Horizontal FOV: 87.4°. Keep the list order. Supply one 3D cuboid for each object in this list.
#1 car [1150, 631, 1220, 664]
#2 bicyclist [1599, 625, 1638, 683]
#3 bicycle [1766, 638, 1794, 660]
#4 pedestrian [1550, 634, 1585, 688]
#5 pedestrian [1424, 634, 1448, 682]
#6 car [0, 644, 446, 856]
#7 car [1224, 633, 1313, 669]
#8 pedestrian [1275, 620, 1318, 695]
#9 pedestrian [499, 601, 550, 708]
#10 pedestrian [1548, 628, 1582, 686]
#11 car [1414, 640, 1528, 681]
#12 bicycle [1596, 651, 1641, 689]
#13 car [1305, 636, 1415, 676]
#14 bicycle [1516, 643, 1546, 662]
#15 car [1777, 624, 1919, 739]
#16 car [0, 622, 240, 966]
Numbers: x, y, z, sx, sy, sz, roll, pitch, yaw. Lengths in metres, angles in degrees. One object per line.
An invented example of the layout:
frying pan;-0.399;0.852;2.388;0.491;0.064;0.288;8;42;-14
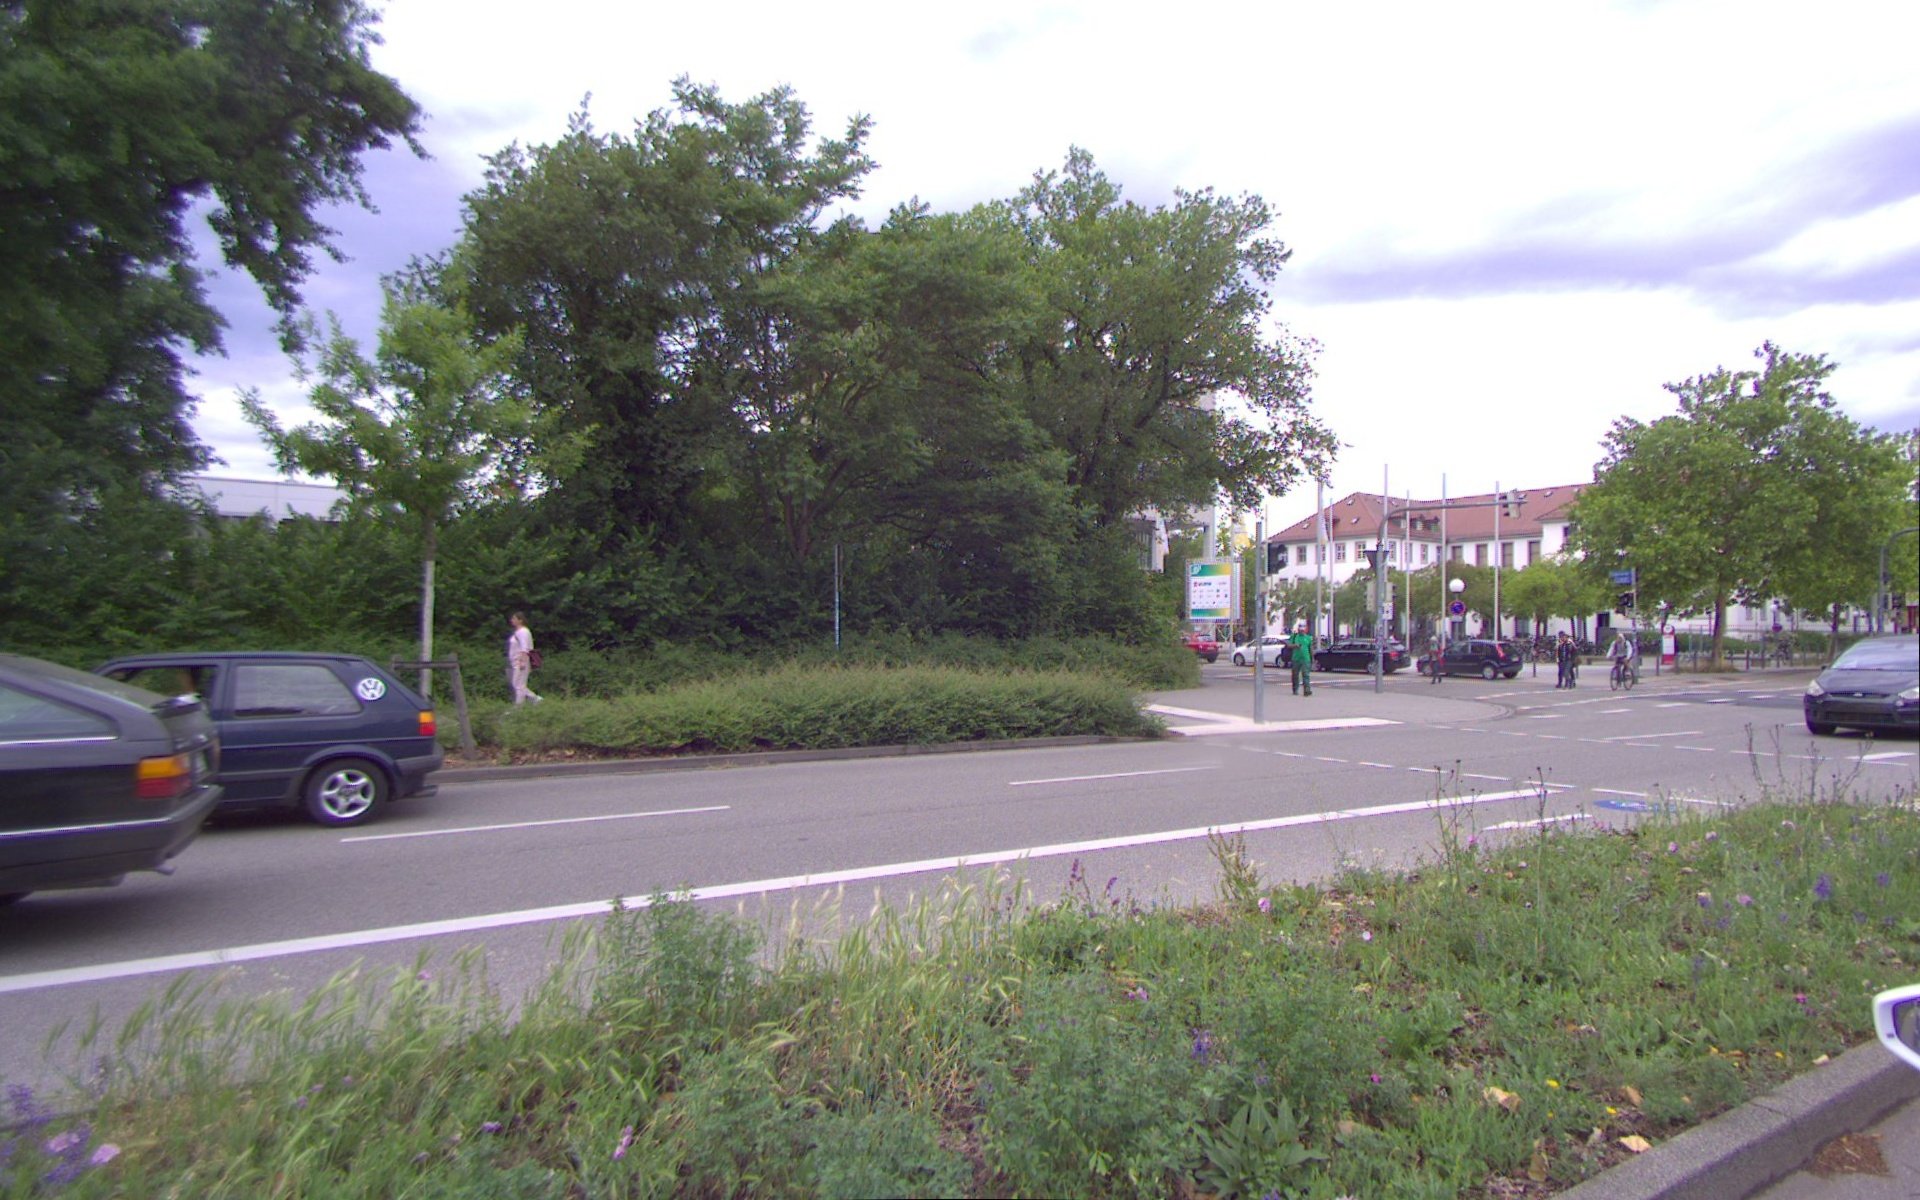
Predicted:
car;11.600;2.440;51.887;1.547;1.499;3.322;1;0;-36
bicyclist;19.572;1.600;29.856;0.953;1.657;0.661;2;-1;-39
bicycle;41.141;2.463;50.407;2.025;1.074;0.603;1;-3;-37
pedestrian;18.151;1.822;30.013;0.780;1.578;0.696;0;-4;40
pedestrian;15.955;1.941;33.646;0.563;1.545;0.846;0;-6;36
car;-6.200;1.076;7.914;3.763;1.399;1.600;1;-3;-30
car;14.616;2.384;47.719;1.667;1.560;3.857;-2;0;-32
pedestrian;8.315;1.408;24.867;0.924;1.782;0.876;2;0;16
pedestrian;-6.934;0.856;15.983;0.663;1.657;0.697;1;-2;-30
pedestrian;19.008;1.791;31.544;0.829;1.761;0.828;0;-6;36
car;19.953;2.342;39.340;1.548;1.240;3.630;-8;4;-35
bicycle;19.635;2.065;29.934;1.605;1.076;0.661;2;-1;-39
car;16.964;2.347;42.739;4.006;1.472;1.613;-2;3;43
bicycle;32.170;2.944;56.578;1.385;1.066;0.586;-3;-3;41
car;15.612;1.287;16.538;4.347;1.686;1.912;2;-3;-30
car;-6.023;0.842;4.196;4.738;1.479;1.755;2;-4;-32
